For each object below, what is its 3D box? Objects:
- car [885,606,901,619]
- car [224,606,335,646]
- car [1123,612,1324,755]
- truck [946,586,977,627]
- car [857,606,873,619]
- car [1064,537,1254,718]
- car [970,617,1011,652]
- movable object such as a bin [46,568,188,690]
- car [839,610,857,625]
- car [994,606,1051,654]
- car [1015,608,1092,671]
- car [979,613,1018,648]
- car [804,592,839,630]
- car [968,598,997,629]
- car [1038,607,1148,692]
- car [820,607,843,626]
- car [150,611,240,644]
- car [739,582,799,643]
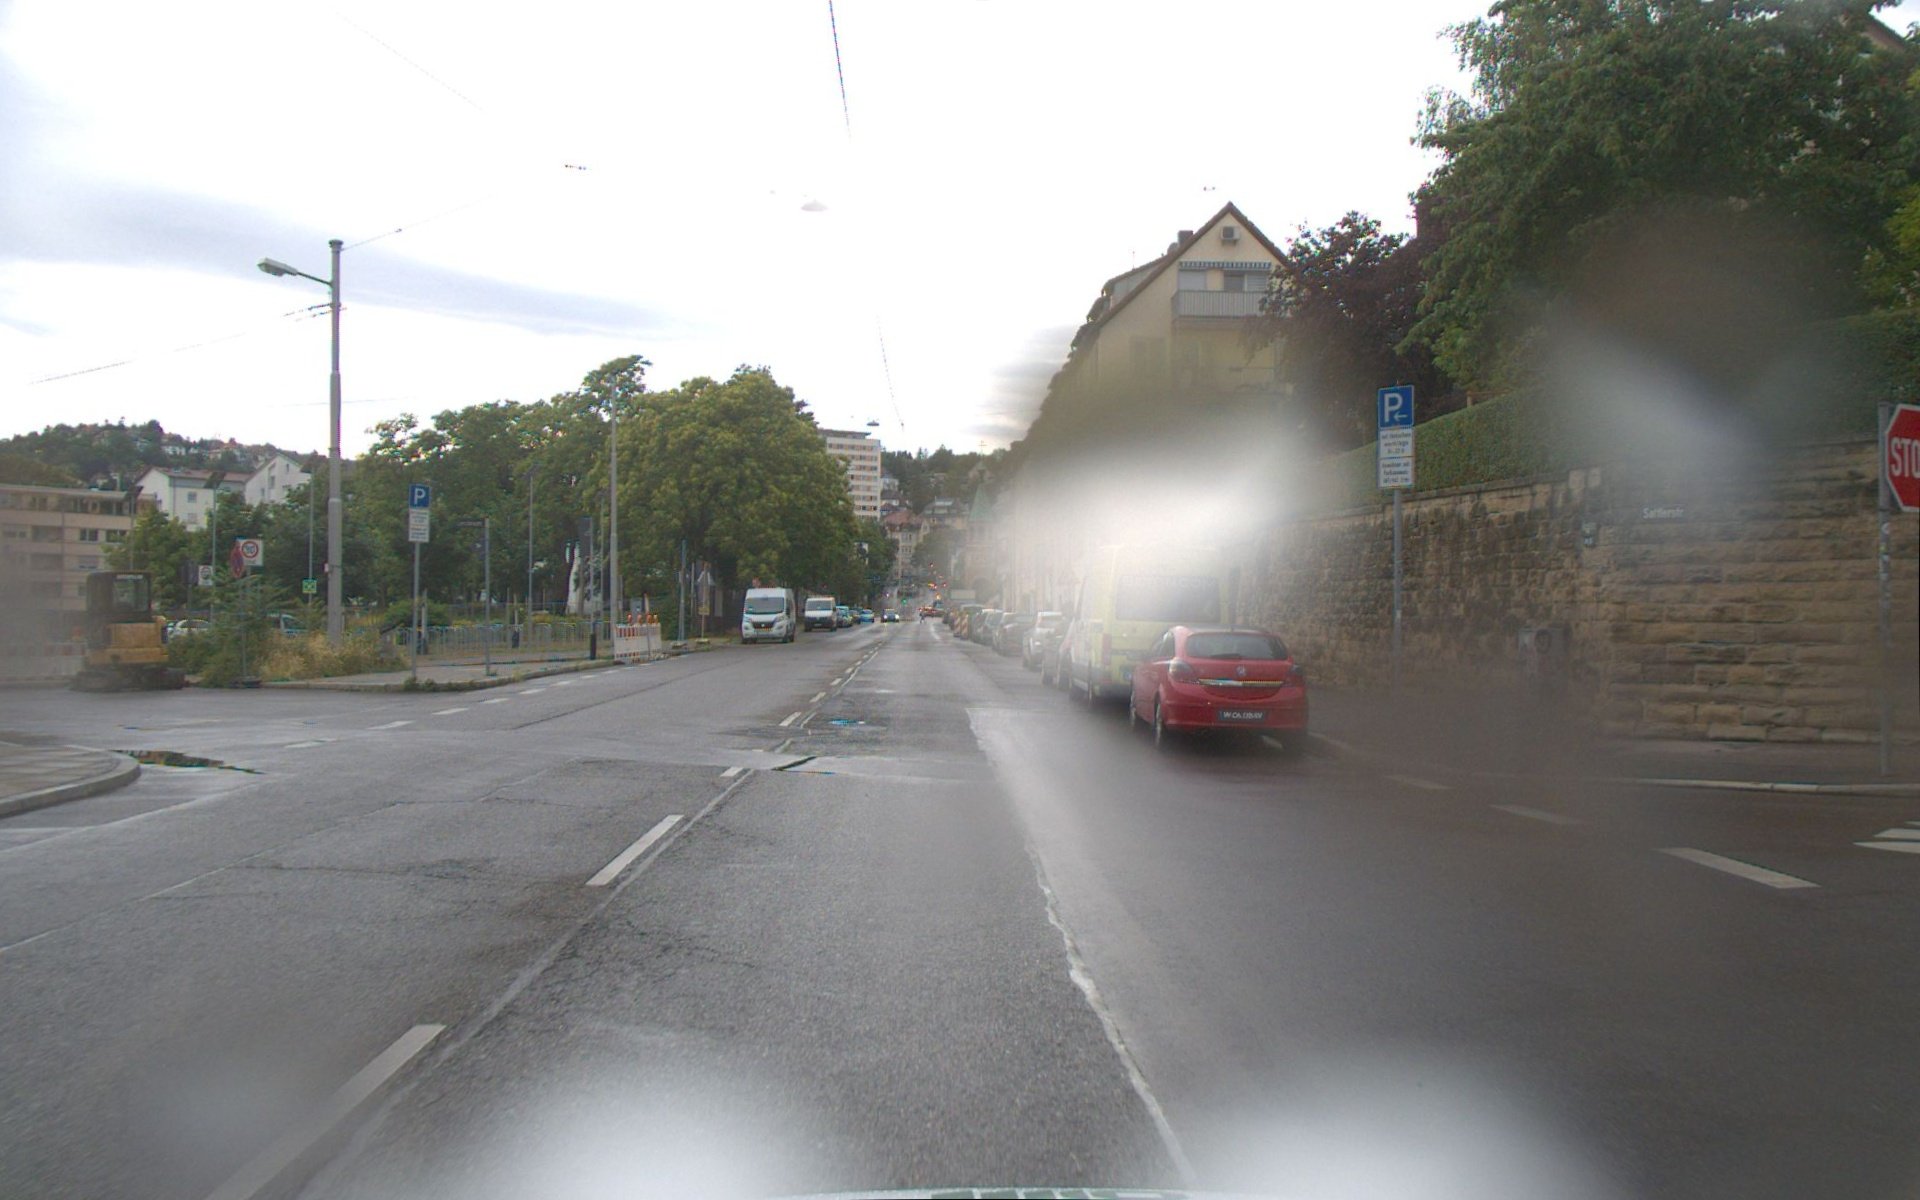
[{"bbox_3d":[-7.629,1.403,187.616,1.769,1.440,4.381,0,0,-3],"label":"car"},{"bbox_3d":[-33.121,1.231,80.582,1.963,1.866,4.668,-1,0,40],"label":"car"},{"bbox_3d":[3.034,0.915,19.862,1.686,1.446,4.202,2,0,0],"label":"car"},{"bbox_3d":[0.089,0.559,134.847,2.419,3.228,7.034,0,-1,-1],"label":"truck"},{"bbox_3d":[-10.679,1.436,186.009,1.675,1.476,4.292,0,-1,-2],"label":"car"},{"bbox_3d":[3.024,0.384,26.623,2.160,2.506,6.078,2,0,-1],"label":"car"},{"bbox_3d":[1.439,1.620,79.300,1.681,1.551,3.998,2,0,-2],"label":"car"},{"bbox_3d":[-18.686,0.602,36.545,1.656,2.502,5.211,1,0,-40],"label":"movable object such as a bin"},{"bbox_3d":[-11.541,1.847,170.540,1.767,1.476,4.654,0,-1,-3],"label":"car"},{"bbox_3d":[2.037,0.970,54.780,1.596,1.479,3.758,2,0,-2],"label":"car"},{"bbox_3d":[2.444,1.084,44.123,1.654,1.479,4.232,2,-4,-2],"label":"car"},{"bbox_3d":[1.702,1.342,73.918,1.527,1.479,3.758,2,0,-2],"label":"car"},{"bbox_3d":[-9.556,0.728,114.575,1.971,2.531,5.982,-1,0,-1],"label":"car"},{"bbox_3d":[1.464,0.881,108.666,1.780,1.958,4.238,-1,0,-1],"label":"car"},{"bbox_3d":[2.553,0.922,32.581,1.654,1.479,4.233,2,0,-2],"label":"car"},{"bbox_3d":[-10.078,1.314,129.984,1.648,1.423,3.908,-1,-1,-2],"label":"car"},{"bbox_3d":[-40.390,1.426,87.339,1.767,1.654,3.979,-1,0,40],"label":"car"},{"bbox_3d":[-8.689,0.534,75.689,2.185,2.624,6.534,-1,0,-2],"label":"car"}]
